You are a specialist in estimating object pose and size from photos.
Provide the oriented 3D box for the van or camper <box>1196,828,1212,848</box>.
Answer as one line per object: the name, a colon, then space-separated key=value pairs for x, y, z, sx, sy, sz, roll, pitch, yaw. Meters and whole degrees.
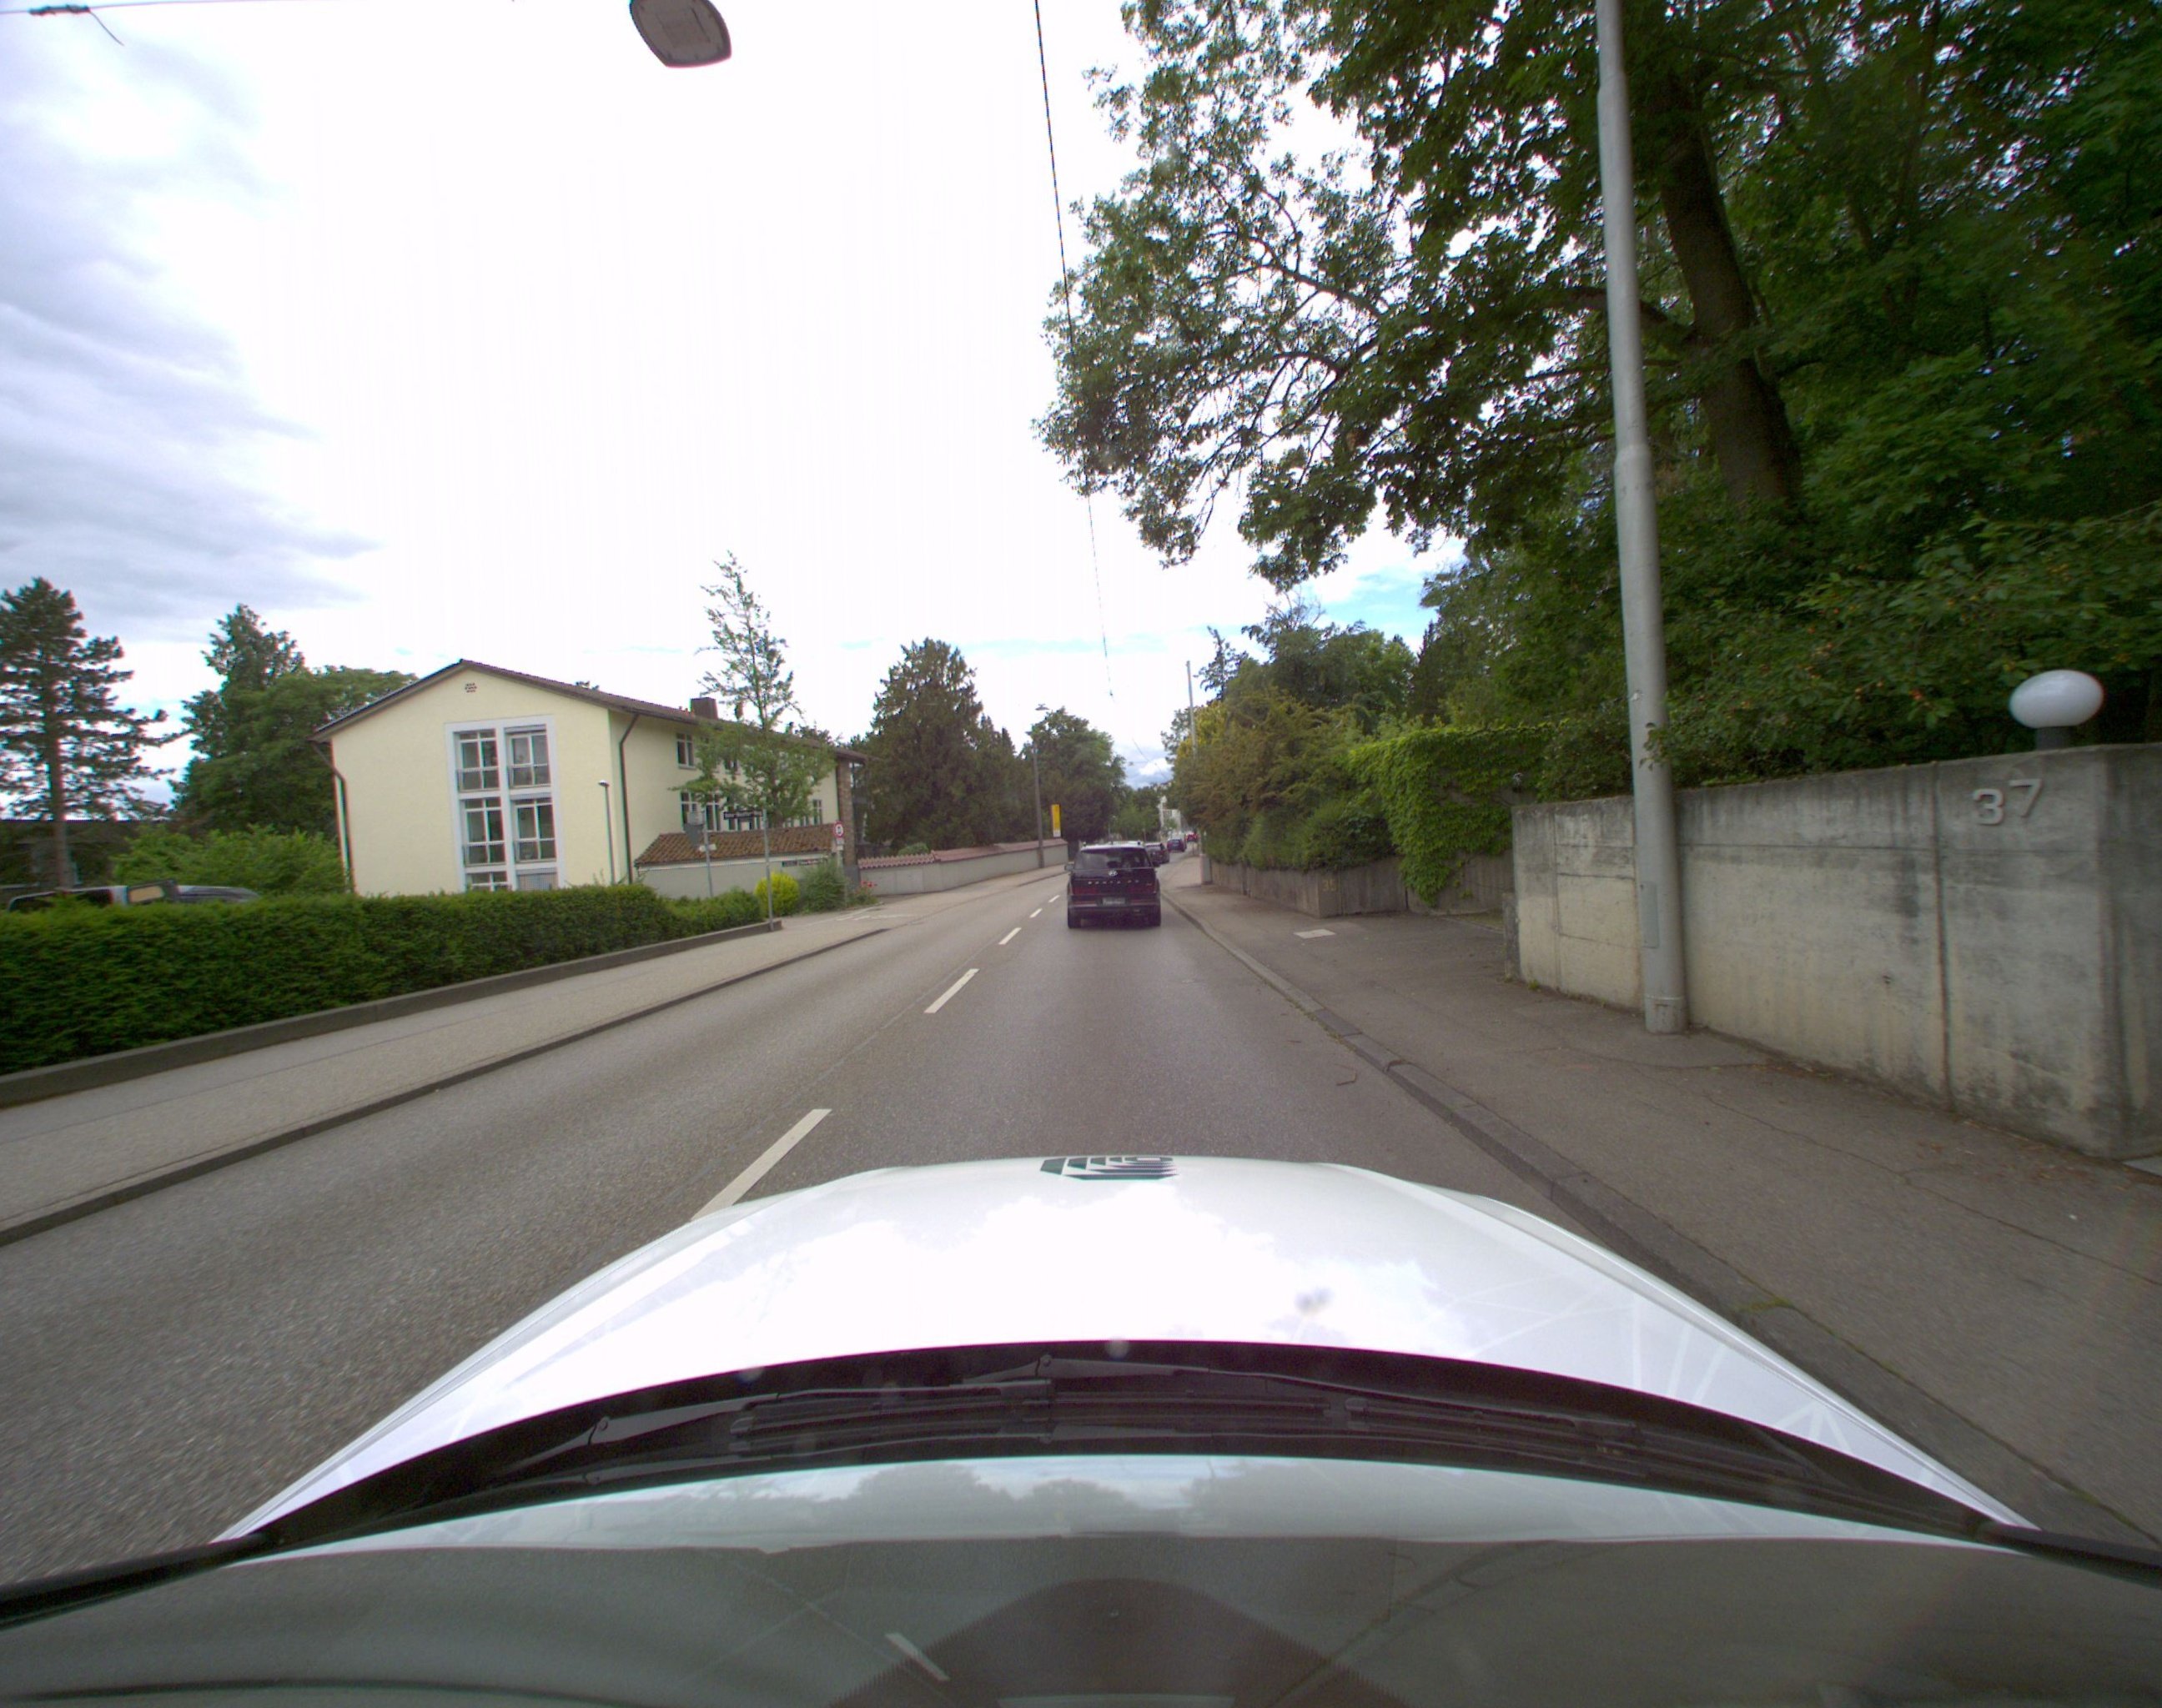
van or camper: x=17.646 y=-2.326 z=116.649 sx=2.031 sy=2.577 sz=5.264 roll=-3 pitch=1 yaw=9

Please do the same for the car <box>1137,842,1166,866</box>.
car: x=5.015 y=-0.025 z=57.436 sx=1.666 sy=1.422 sz=3.948 roll=-3 pitch=1 yaw=9

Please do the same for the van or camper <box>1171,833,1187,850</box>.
van or camper: x=12.301 y=-1.561 z=101.827 sx=1.665 sy=2.007 sz=3.949 roll=-3 pitch=1 yaw=9

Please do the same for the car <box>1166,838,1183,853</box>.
car: x=10.097 y=-0.913 z=87.462 sx=1.666 sy=1.422 sz=3.947 roll=-3 pitch=1 yaw=8

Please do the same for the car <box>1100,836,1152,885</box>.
car: x=2.004 y=0.221 z=34.986 sx=1.946 sy=1.955 sz=4.232 roll=0 pitch=2 yaw=7

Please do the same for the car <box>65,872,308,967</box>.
car: x=-18.117 y=1.235 z=16.753 sx=1.687 sy=1.595 sz=3.489 roll=-3 pitch=0 yaw=-15

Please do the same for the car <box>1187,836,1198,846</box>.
car: x=19.380 y=-2.218 z=141.379 sx=1.665 sy=1.541 sz=3.949 roll=-3 pitch=1 yaw=9

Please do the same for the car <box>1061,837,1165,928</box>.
car: x=0.670 y=0.537 z=17.507 sx=1.950 sy=1.713 sz=4.225 roll=0 pitch=0 yaw=2
